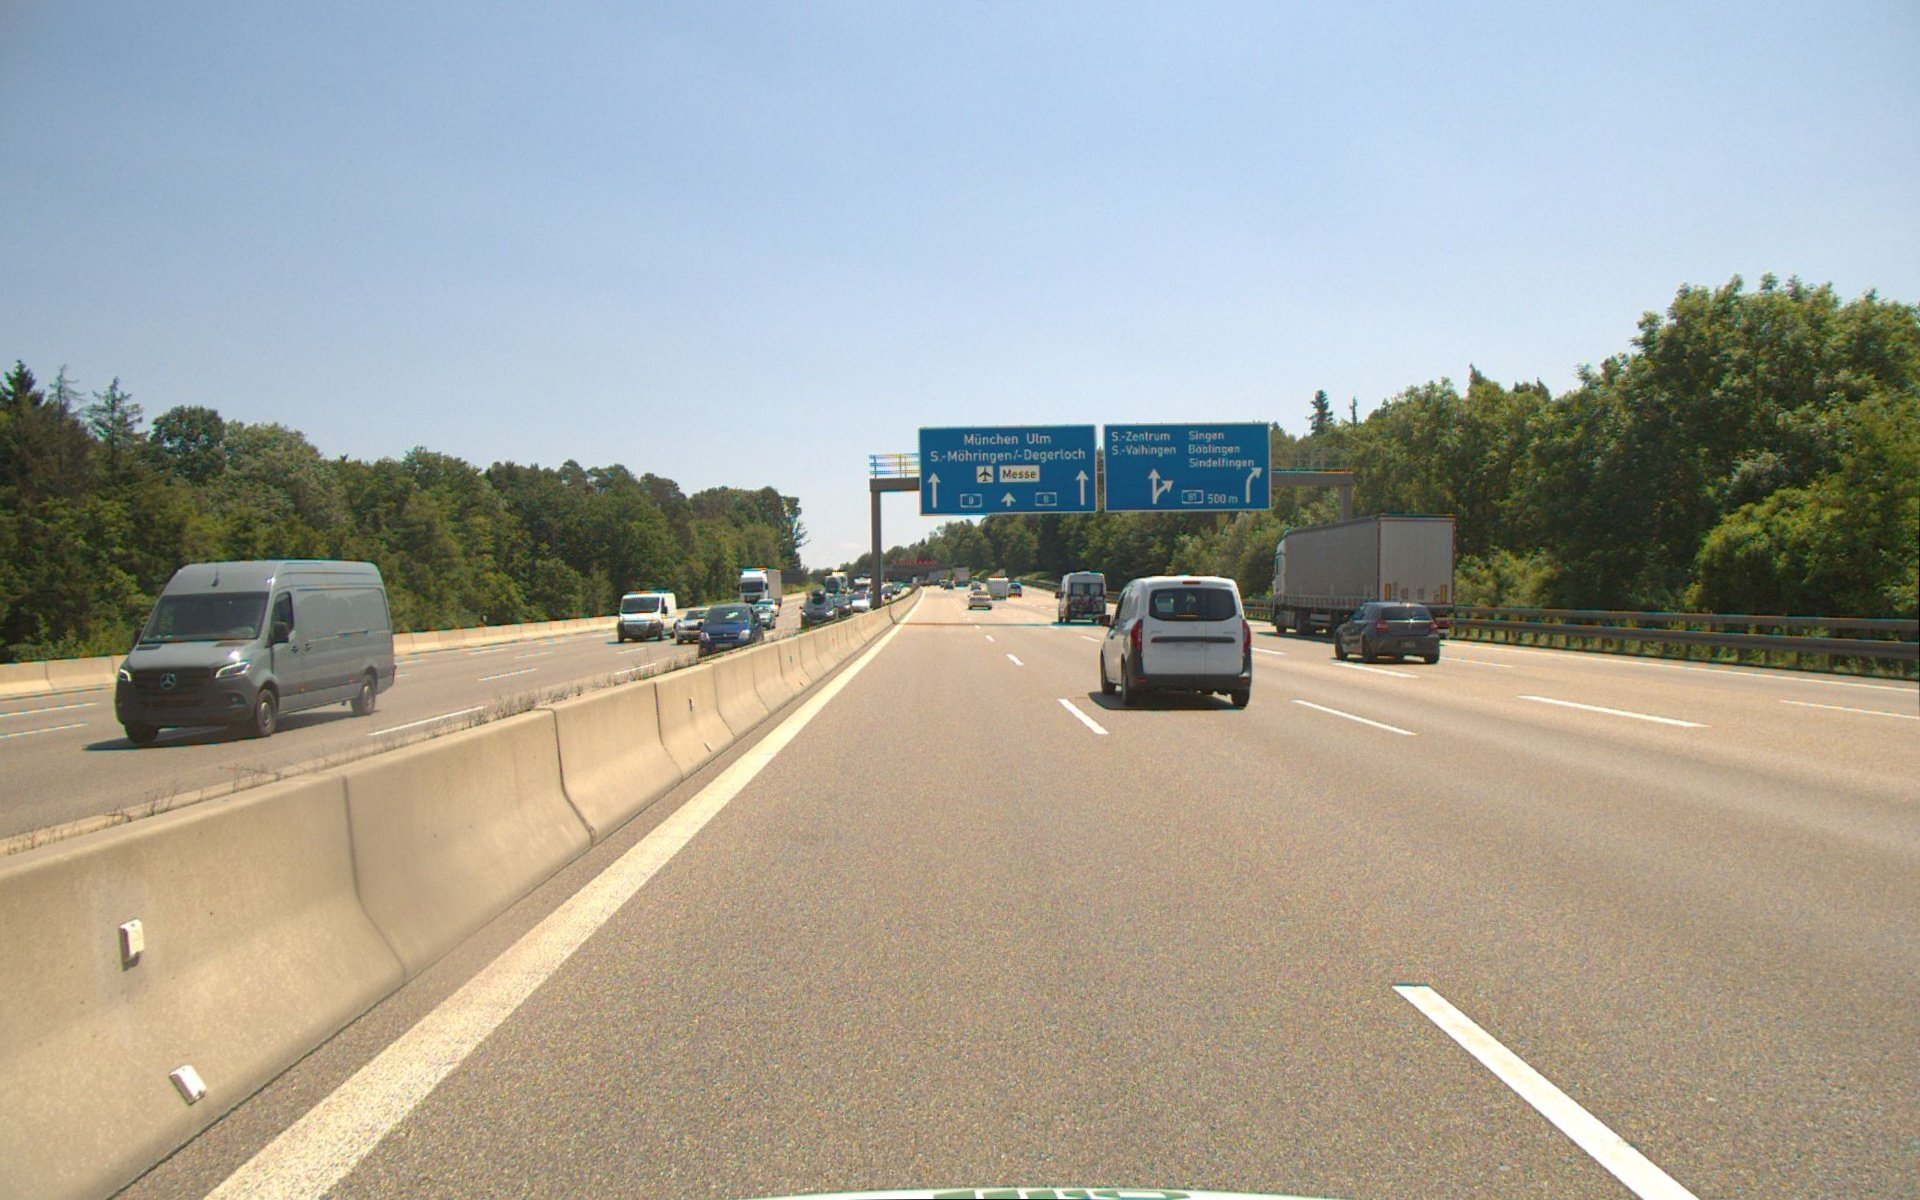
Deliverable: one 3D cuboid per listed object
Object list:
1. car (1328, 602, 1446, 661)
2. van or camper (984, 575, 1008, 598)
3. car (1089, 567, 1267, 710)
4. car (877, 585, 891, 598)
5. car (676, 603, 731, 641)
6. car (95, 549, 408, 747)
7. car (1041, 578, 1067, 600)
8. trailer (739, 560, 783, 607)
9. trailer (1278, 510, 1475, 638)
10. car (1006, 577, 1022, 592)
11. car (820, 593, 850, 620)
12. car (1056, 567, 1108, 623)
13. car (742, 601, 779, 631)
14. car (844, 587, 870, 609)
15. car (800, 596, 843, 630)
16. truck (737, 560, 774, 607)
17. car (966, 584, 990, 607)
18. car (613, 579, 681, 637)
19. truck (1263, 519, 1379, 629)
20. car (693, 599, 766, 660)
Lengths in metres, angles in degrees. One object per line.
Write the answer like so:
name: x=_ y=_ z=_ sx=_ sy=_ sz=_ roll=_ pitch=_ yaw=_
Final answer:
car: x=10.125 y=0.755 z=39.511 sx=1.636 sy=1.296 sz=4.288 roll=1 pitch=-1 yaw=-1
van or camper: x=4.243 y=-1.556 z=195.103 sx=2.591 sy=2.583 sz=6.500 roll=-2 pitch=0 yaw=-1
car: x=3.130 y=0.529 z=24.687 sx=1.822 sy=1.857 sz=4.610 roll=-2 pitch=0 yaw=-2
car: x=-9.872 y=-1.079 z=214.046 sx=1.689 sy=1.564 sz=5.052 roll=-2 pitch=0 yaw=-3
car: x=-10.775 y=0.908 z=69.723 sx=1.644 sy=1.469 sz=4.525 roll=-3 pitch=0 yaw=-1
car: x=-10.969 y=0.624 z=26.414 sx=1.891 sy=2.652 sz=7.229 roll=-2 pitch=1 yaw=-1
car: x=7.491 y=-0.871 z=131.876 sx=1.781 sy=1.668 sz=3.999 roll=-2 pitch=0 yaw=-1
trailer: x=-19.578 y=-1.560 z=163.509 sx=2.699 sy=4.320 sz=13.715 roll=-2 pitch=0 yaw=-1
trailer: x=14.427 y=-0.886 z=58.919 sx=3.221 sy=3.999 sz=13.887 roll=0 pitch=1 yaw=-1
car: x=7.093 y=-1.993 z=217.708 sx=1.783 sy=1.892 sz=3.999 roll=-1 pitch=1 yaw=-1
car: x=-8.219 y=0.405 z=109.008 sx=1.719 sy=1.702 sz=4.202 roll=-2 pitch=0 yaw=-2
car: x=6.197 y=-0.257 z=84.615 sx=2.100 sy=2.698 sz=5.708 roll=-1 pitch=0 yaw=-1
car: x=-10.883 y=0.838 z=90.265 sx=1.517 sy=1.480 sz=3.839 roll=-3 pitch=0 yaw=-1
car: x=-8.098 y=-0.173 z=130.619 sx=1.776 sy=1.702 sz=4.475 roll=-2 pitch=0 yaw=-1
car: x=-7.349 y=0.665 z=88.388 sx=1.832 sy=1.634 sz=5.227 roll=-2 pitch=0 yaw=-1
truck: x=-19.526 y=-1.511 z=158.471 sx=2.704 sy=4.294 sz=6.376 roll=-2 pitch=-1 yaw=-1
car: x=1.415 y=-0.335 z=131.854 sx=1.806 sy=1.657 sz=4.552 roll=-2 pitch=0 yaw=-1
car: x=-14.578 y=0.383 z=77.500 sx=1.891 sy=2.455 sz=6.624 roll=-3 pitch=0 yaw=-1
truck: x=14.228 y=-1.014 z=65.680 sx=3.188 sy=4.178 sz=5.986 roll=0 pitch=0 yaw=-1
car: x=-6.872 y=0.846 z=49.551 sx=1.670 sy=1.691 sz=3.759 roll=-1 pitch=0 yaw=-1
